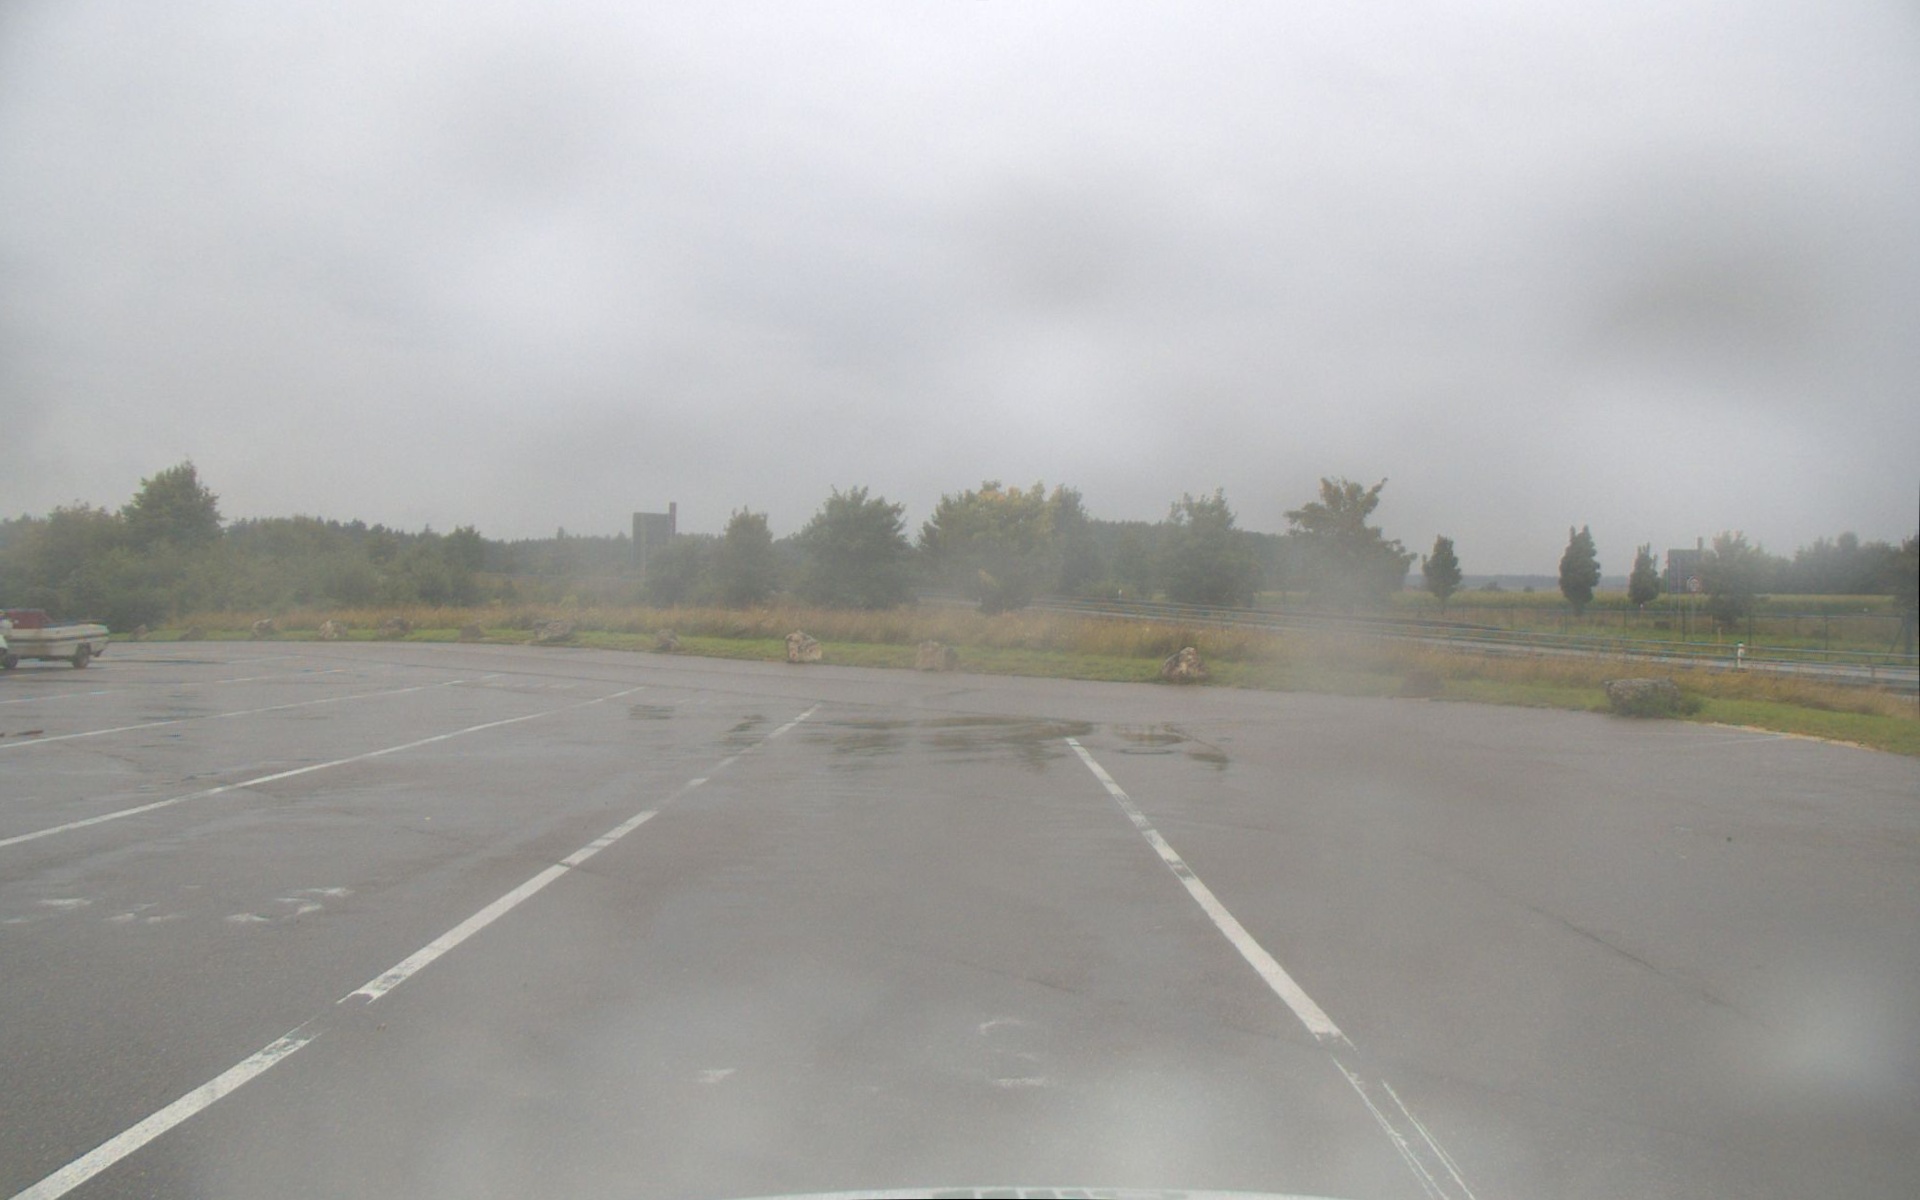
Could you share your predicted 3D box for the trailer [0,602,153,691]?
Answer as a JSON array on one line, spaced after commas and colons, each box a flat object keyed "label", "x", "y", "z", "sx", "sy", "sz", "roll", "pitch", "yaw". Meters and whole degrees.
[{"label": "trailer", "x": -17.284, "y": 0.832, "z": 31.573, "sx": 1.660, "sy": 1.559, "sz": 4.001, "roll": -1, "pitch": 0, "yaw": 2}]

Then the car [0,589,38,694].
[{"label": "car", "x": -17.432, "y": 0.726, "z": 27.558, "sx": 1.784, "sy": 1.808, "sz": 4.001, "roll": -1, "pitch": 0, "yaw": 2}]
